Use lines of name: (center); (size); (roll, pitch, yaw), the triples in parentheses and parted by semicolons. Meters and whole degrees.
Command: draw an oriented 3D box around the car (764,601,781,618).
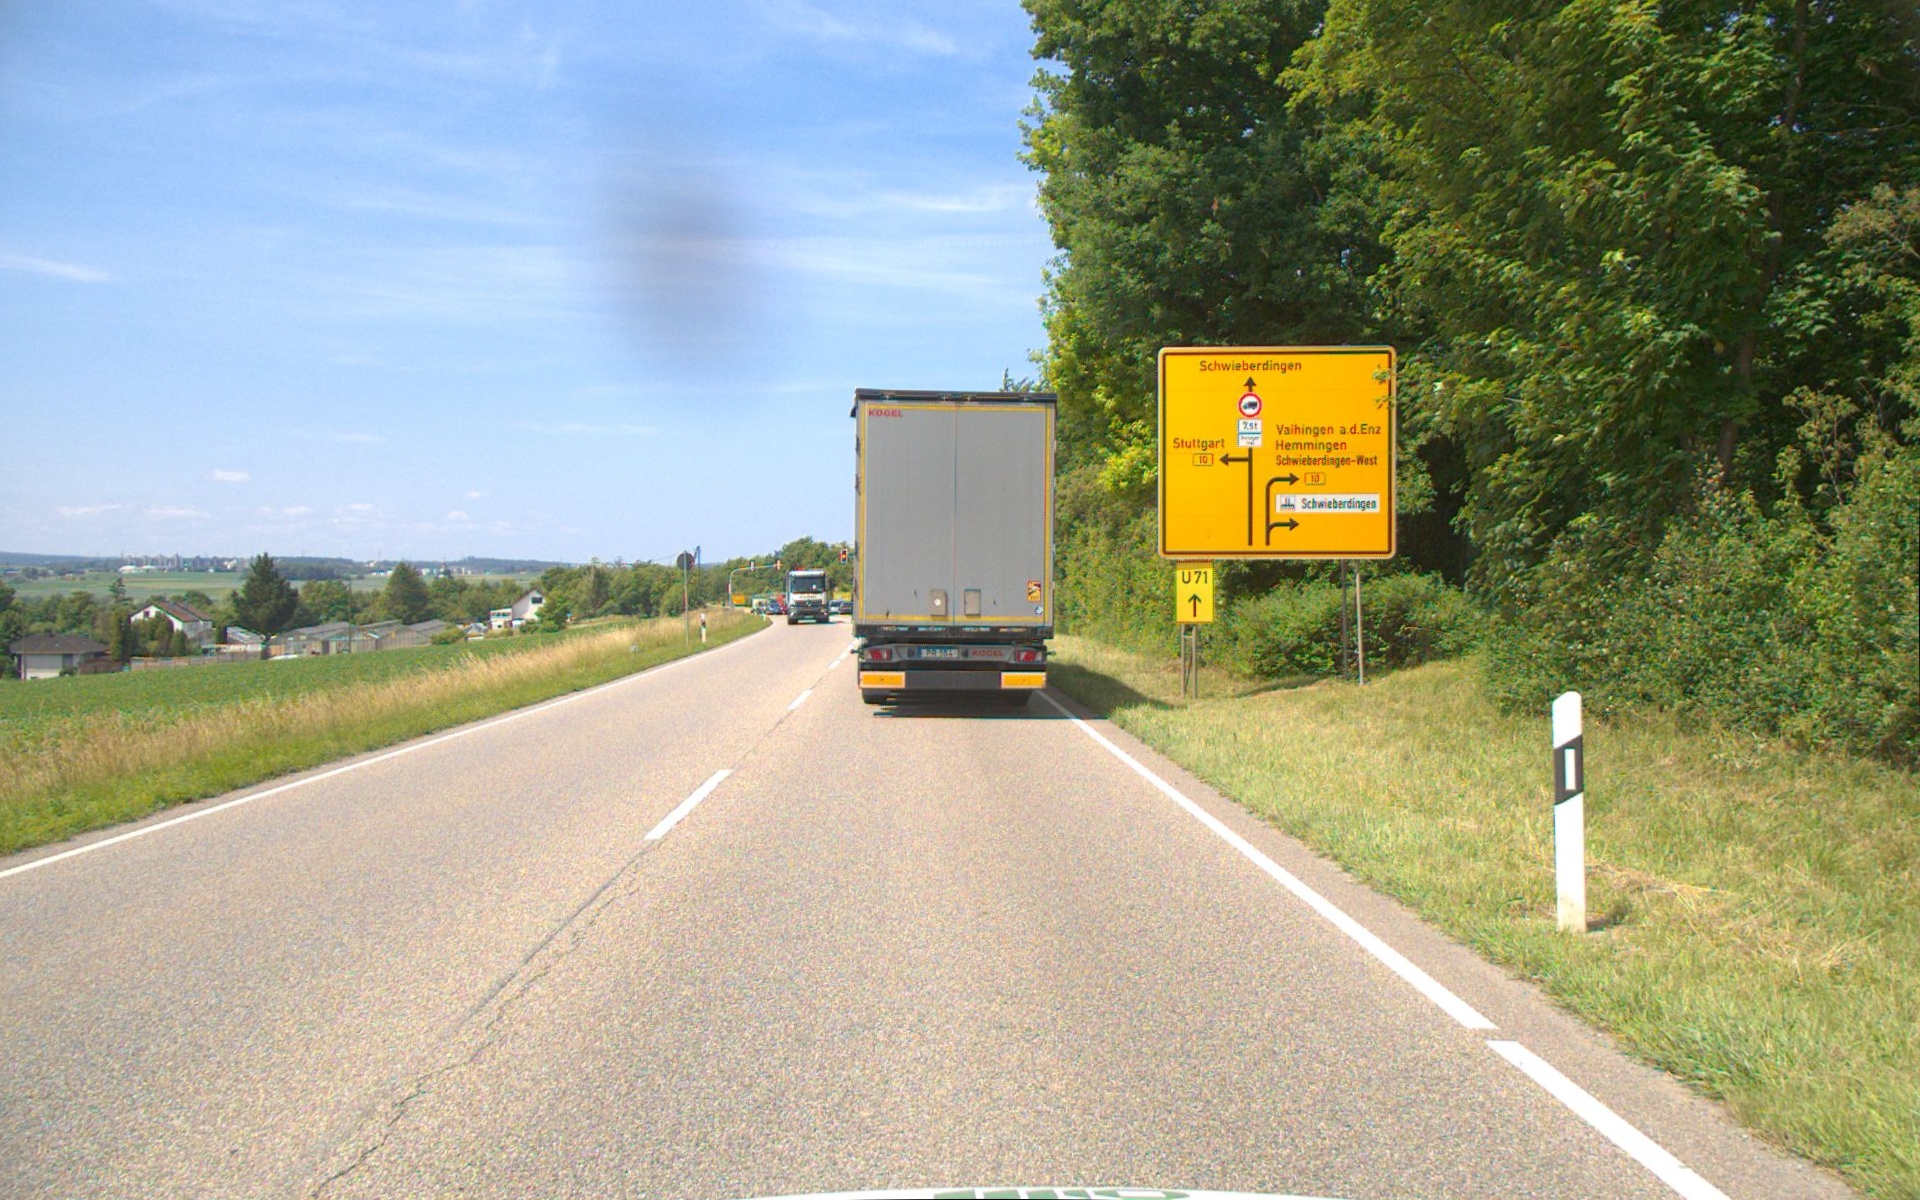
car: (-23.452, 1.173, 206.862); (1.956, 1.984, 4.495); (-2, 0, -7)

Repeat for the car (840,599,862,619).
car: (-11.892, 1.017, 180.379); (2.130, 2.049, 4.520); (-2, 0, -7)

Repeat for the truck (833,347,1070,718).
truck: (-0.337, -0.828, 24.595); (2.849, 4.487, 8.854); (1, 0, -3)

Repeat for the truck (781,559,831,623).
truck: (-9.507, -0.501, 103.055); (2.702, 3.638, 11.055); (-2, 0, -4)

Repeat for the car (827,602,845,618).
car: (-14.656, 1.130, 195.089); (1.856, 1.808, 4.380); (-2, 0, -7)
